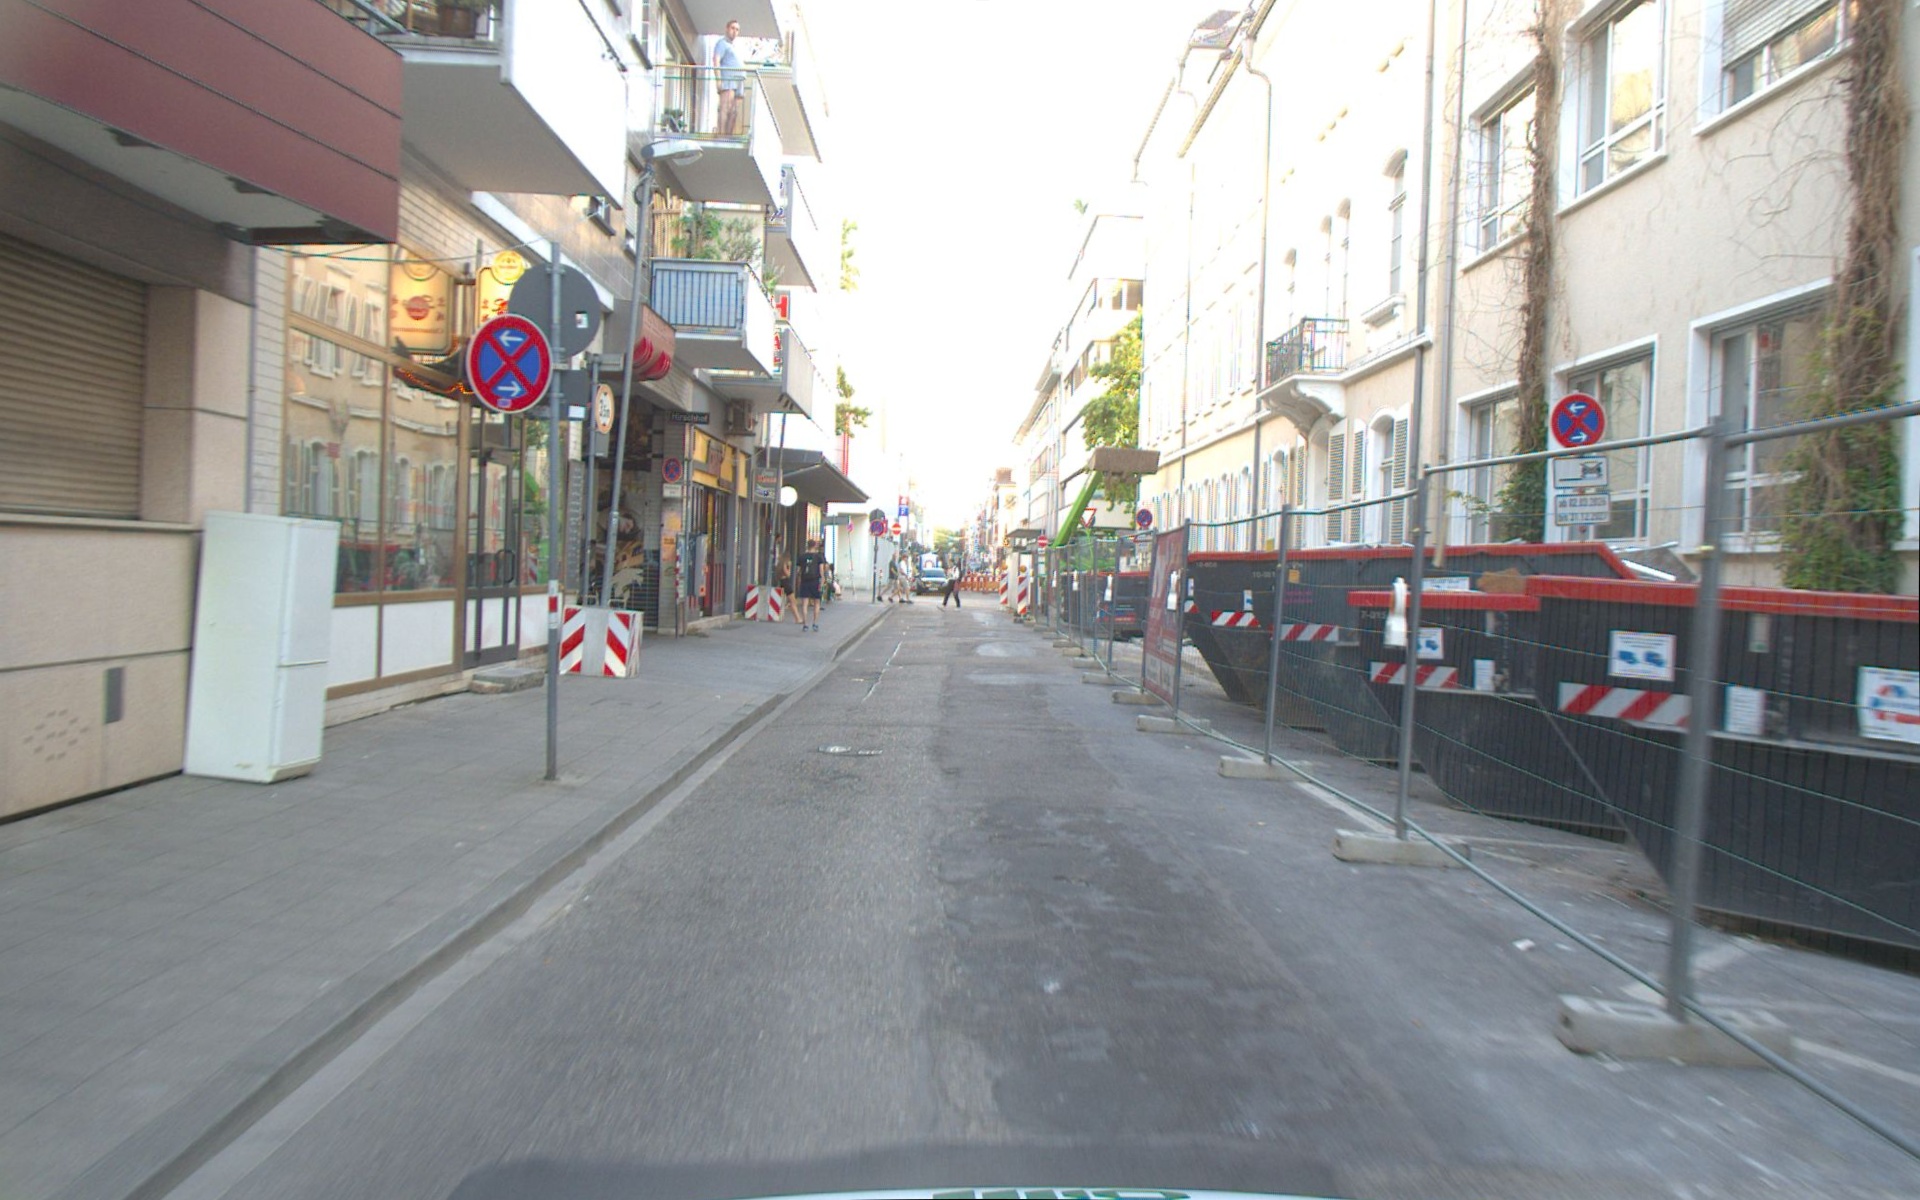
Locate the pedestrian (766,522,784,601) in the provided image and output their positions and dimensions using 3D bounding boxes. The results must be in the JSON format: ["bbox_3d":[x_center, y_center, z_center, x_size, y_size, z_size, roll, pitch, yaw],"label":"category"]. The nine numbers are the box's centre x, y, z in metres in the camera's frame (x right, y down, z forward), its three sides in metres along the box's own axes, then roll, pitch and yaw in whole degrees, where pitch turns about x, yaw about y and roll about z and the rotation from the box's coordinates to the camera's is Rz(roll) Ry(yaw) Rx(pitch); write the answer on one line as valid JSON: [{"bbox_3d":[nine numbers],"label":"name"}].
[{"bbox_3d":[-4.850,-1.003,43.370,0.402,2.048,0.453,2,1,-3],"label":"pedestrian"}]

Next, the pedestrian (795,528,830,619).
[{"bbox_3d":[-3.046,-0.544,34.162,0.616,1.839,0.647,2,1,1],"label":"pedestrian"}]

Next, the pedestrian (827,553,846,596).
[{"bbox_3d":[-4.080,-0.841,54.621,0.531,1.411,0.625,2,1,0],"label":"pedestrian"}]

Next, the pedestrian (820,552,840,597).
[{"bbox_3d":[-4.219,-0.827,53.654,0.547,1.415,0.893,2,1,-1],"label":"pedestrian"}]

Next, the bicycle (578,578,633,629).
[{"bbox_3d":[-5.778,0.049,27.026,0.511,0.774,1.747,2,1,-1],"label":"bicycle"}]

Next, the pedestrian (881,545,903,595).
[{"bbox_3d":[-2.542,-1.132,62.116,0.635,1.841,0.628,1,1,-17],"label":"pedestrian"}]

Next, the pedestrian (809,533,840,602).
[{"bbox_3d":[-3.811,-0.911,46.546,0.561,1.919,0.656,2,1,23],"label":"pedestrian"}]

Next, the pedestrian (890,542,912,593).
[{"bbox_3d":[-2.171,-1.198,61.175,0.635,1.841,0.628,1,1,-17],"label":"pedestrian"}]

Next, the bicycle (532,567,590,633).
[{"bbox_3d":[-6.532,-0.020,27.128,0.511,1.027,1.747,2,1,-1],"label":"bicycle"}]

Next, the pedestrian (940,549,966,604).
[{"bbox_3d":[-0.228,-0.783,54.289,0.704,1.770,0.648,2,1,10],"label":"pedestrian"}]

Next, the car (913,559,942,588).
[{"bbox_3d":[-1.682,-1.405,87.168,1.444,1.422,3.332,2,1,-1],"label":"car"}]

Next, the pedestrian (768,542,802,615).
[{"bbox_3d":[-3.917,-0.481,37.021,0.635,1.592,0.628,1,1,-16],"label":"pedestrian"}]

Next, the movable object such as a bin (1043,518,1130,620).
[{"bbox_3d":[4.218,-1.105,55.819,2.420,3.184,4.298,3,2,-1],"label":"movable object such as a bin"}]

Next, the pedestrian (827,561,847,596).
[{"bbox_3d":[-4.275,-0.738,57.458,0.605,1.192,0.787,2,1,-2],"label":"pedestrian"}]
